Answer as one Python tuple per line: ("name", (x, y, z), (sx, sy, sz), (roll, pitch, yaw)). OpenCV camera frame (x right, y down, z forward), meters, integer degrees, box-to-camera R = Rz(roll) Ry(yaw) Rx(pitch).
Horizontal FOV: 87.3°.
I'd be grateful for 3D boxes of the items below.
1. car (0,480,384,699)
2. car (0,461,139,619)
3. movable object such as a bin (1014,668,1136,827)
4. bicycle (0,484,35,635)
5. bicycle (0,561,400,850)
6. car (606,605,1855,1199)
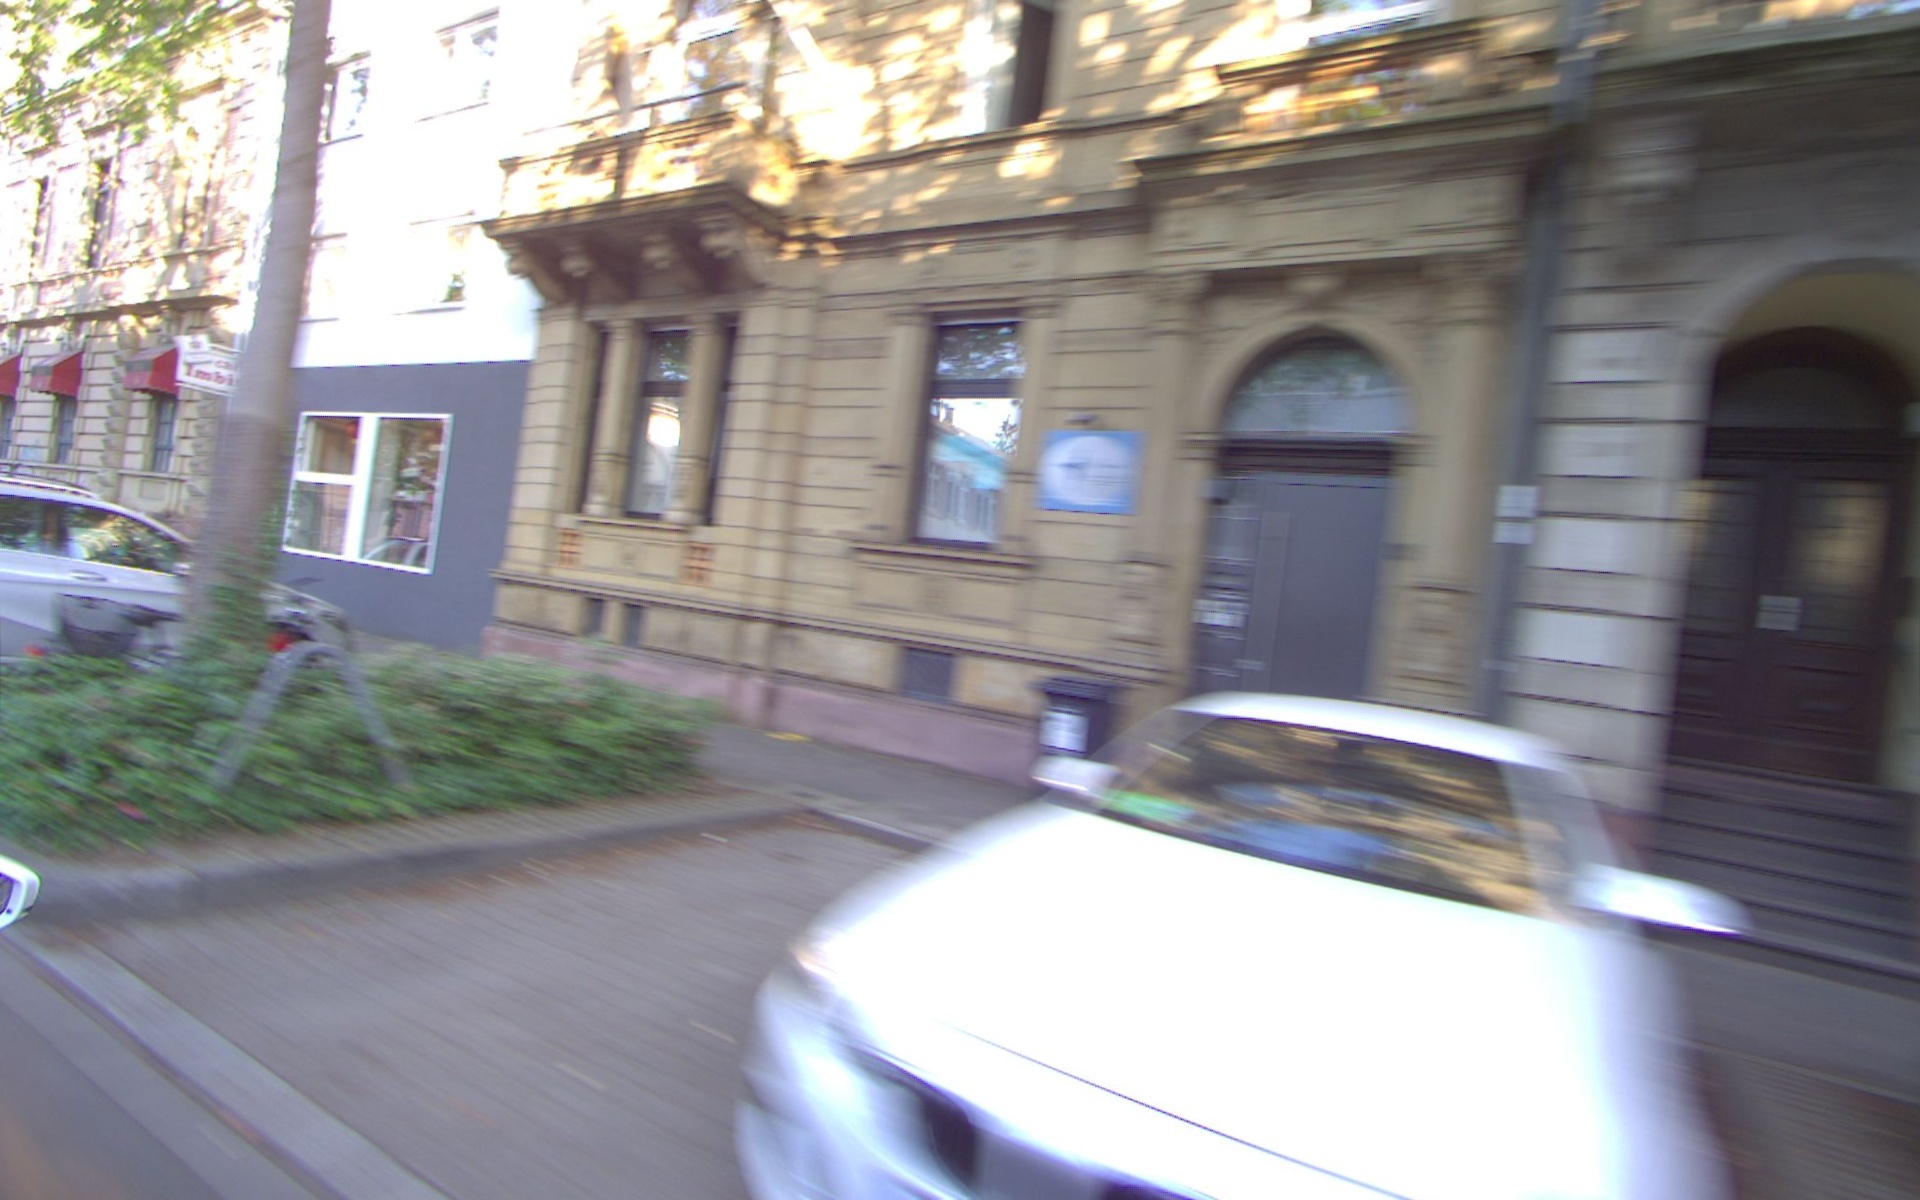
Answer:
("car", (-7.515, -0.133, 8.340), (1.939, 1.579, 4.228), (8, -1, 34))
("car", (-13.592, -0.976, 12.662), (1.917, 1.937, 4.550), (7, -1, 29))
("movable object such as a bin", (0.885, 1.093, 7.665), (0.604, 1.077, 0.658), (6, 0, 31))
("bicycle", (-11.738, -0.631, 10.330), (0.647, 1.682, 3.123), (7, -2, 27))
("bicycle", (-4.022, 0.482, 5.253), (0.479, 1.219, 2.025), (7, 0, 19))
("car", (1.322, 1.040, 3.552), (1.894, 1.454, 4.590), (7, -1, 33))
